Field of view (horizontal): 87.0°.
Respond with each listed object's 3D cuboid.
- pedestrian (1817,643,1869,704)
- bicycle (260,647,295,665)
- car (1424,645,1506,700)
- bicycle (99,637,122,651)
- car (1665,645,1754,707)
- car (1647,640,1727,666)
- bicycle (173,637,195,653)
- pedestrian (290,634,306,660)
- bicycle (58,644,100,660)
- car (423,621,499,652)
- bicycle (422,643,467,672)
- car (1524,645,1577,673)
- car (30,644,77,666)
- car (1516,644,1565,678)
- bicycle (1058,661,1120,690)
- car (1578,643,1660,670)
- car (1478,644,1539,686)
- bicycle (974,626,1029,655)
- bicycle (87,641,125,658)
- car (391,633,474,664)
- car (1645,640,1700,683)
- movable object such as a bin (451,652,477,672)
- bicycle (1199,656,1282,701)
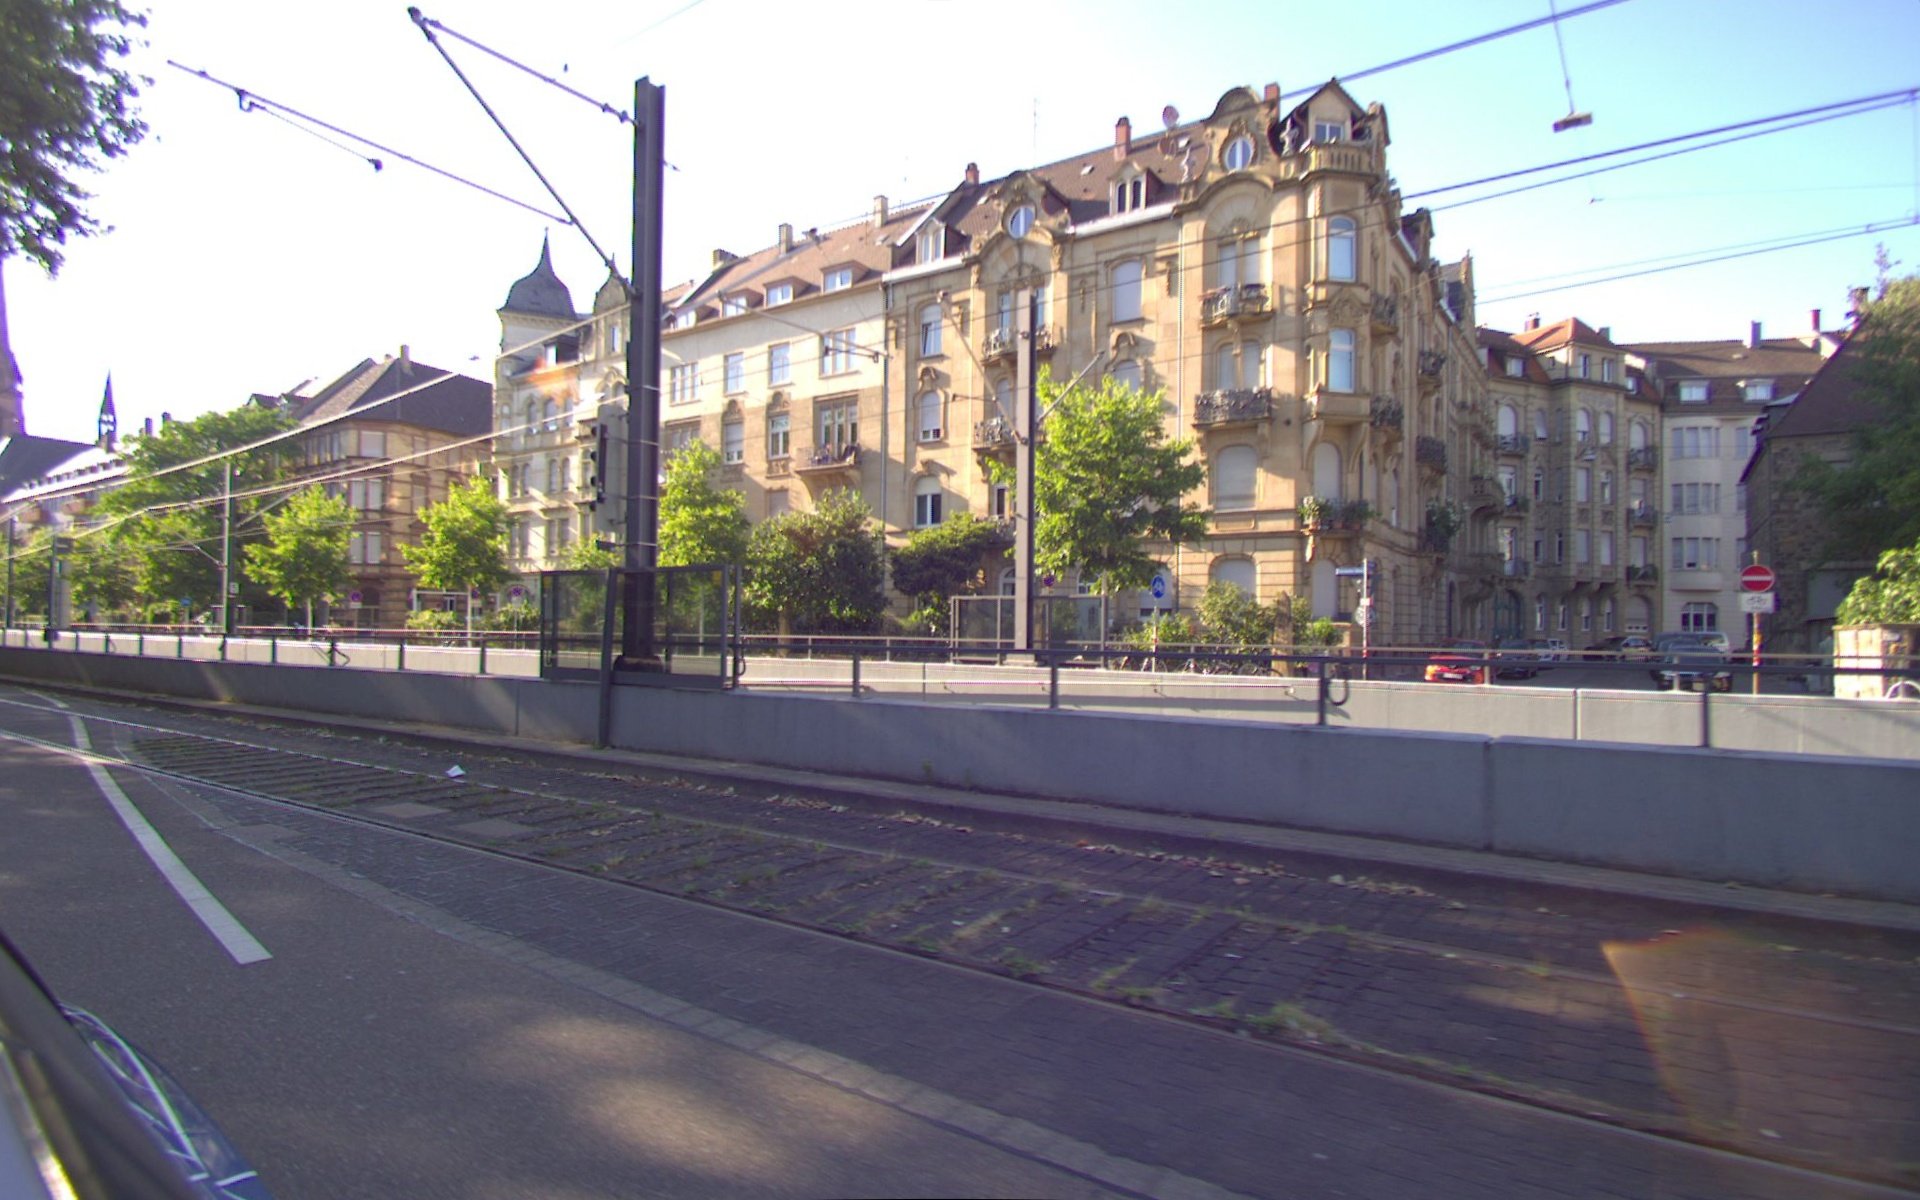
[{"bbox_3d":[24.498,2.020,28.092,0.735,1.600,0.936,-1,-1,-38],"label":"pedestrian"},{"bbox_3d":[-43.127,3.540,63.940,1.919,1.013,0.455,2,0,5],"label":"bicycle"},{"bbox_3d":[15.728,2.200,31.450,1.814,1.581,3.954,-1,-3,33],"label":"car"},{"bbox_3d":[-61.136,3.182,72.845,0.532,0.912,1.267,-1,0,5],"label":"bicycle"},{"bbox_3d":[21.649,2.150,29.375,1.814,1.664,3.954,-1,-3,33],"label":"car"},{"bbox_3d":[43.291,3.134,60.295,3.931,1.500,1.825,1,-3,-18],"label":"car"},{"bbox_3d":[-56.621,3.261,73.830,2.370,1.107,0.550,-2,-1,35],"label":"bicycle"},{"bbox_3d":[-44.858,3.193,68.592,0.864,1.701,0.711,-2,-1,41],"label":"pedestrian"},{"bbox_3d":[-65.558,3.859,75.345,0.634,1.107,2.785,-1,0,2],"label":"bicycle"},{"bbox_3d":[-32.258,2.352,65.453,4.452,1.863,1.984,-1,0,24],"label":"car"},{"bbox_3d":[-23.295,2.600,45.769,0.599,1.289,1.712,-2,-3,41],"label":"bicycle"},{"bbox_3d":[31.795,3.165,54.417,1.818,1.416,3.946,-2,-4,40],"label":"car"},{"bbox_3d":[-71.716,4.296,80.022,3.988,1.597,1.818,-1,0,33],"label":"car"},{"bbox_3d":[28.323,2.947,49.354,1.814,1.581,3.954,-1,-3,33],"label":"car"},{"bbox_3d":[3.871,2.259,30.441,1.885,0.806,0.412,-2,-1,38],"label":"bicycle"},{"bbox_3d":[37.865,3.246,58.147,3.931,1.500,1.825,1,-3,-18],"label":"car"},{"bbox_3d":[21.947,2.568,40.424,1.814,1.581,3.954,-1,-3,33],"label":"car"},{"bbox_3d":[1.477,1.454,36.425,2.109,1.026,0.500,-2,-1,39],"label":"bicycle"},{"bbox_3d":[-61.684,3.563,73.117,0.550,1.107,2.372,-1,0,4],"label":"bicycle"},{"bbox_3d":[-30.358,2.758,58.386,1.815,1.637,3.965,-1,-1,26],"label":"car"},{"bbox_3d":[31.411,2.708,44.716,1.814,1.811,3.954,-1,-3,33],"label":"car"},{"bbox_3d":[-25.316,3.164,51.641,0.781,0.926,0.890,-1,0,29],"label":"movable object such as a bin"},{"bbox_3d":[6.747,1.890,24.425,1.873,1.030,0.485,-1,0,12],"label":"bicycle"}]
